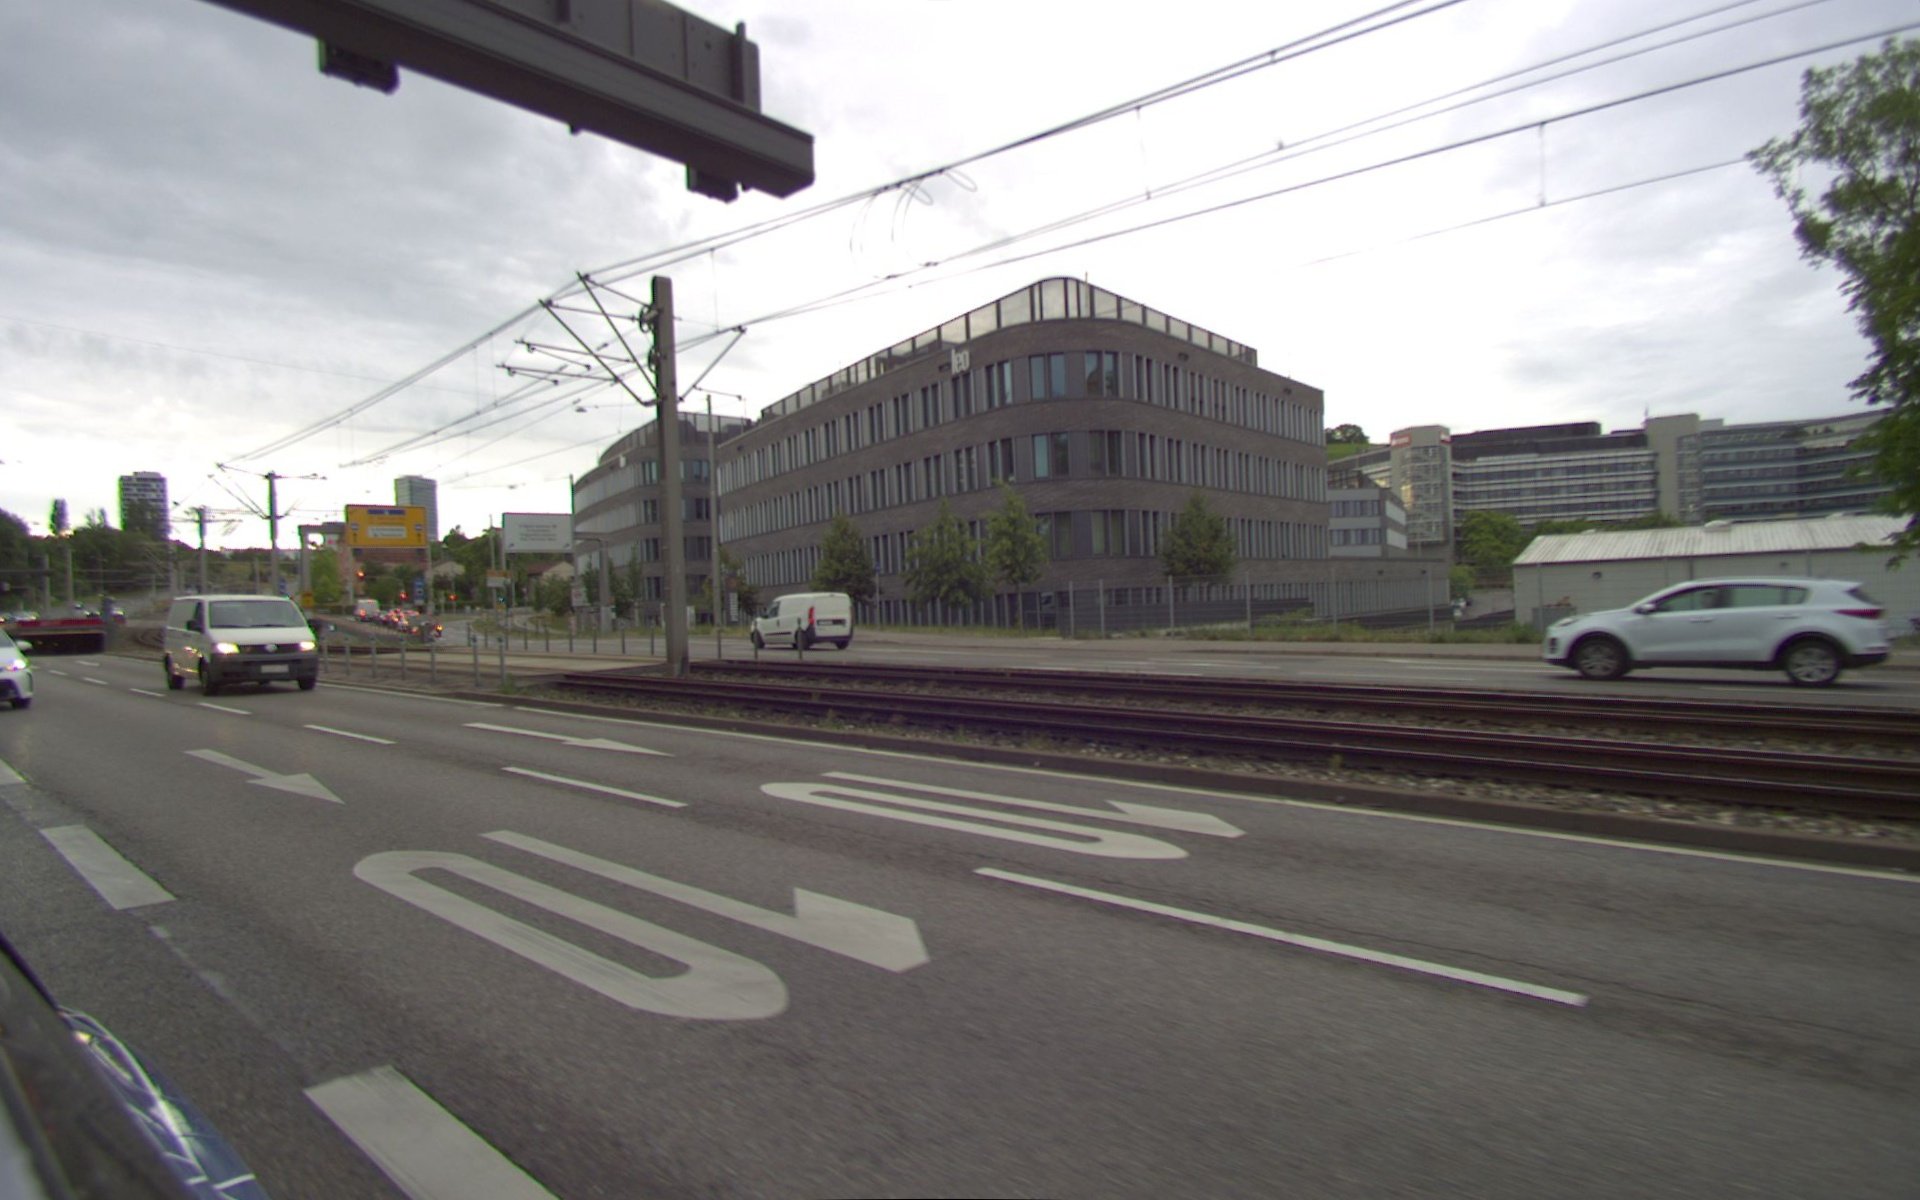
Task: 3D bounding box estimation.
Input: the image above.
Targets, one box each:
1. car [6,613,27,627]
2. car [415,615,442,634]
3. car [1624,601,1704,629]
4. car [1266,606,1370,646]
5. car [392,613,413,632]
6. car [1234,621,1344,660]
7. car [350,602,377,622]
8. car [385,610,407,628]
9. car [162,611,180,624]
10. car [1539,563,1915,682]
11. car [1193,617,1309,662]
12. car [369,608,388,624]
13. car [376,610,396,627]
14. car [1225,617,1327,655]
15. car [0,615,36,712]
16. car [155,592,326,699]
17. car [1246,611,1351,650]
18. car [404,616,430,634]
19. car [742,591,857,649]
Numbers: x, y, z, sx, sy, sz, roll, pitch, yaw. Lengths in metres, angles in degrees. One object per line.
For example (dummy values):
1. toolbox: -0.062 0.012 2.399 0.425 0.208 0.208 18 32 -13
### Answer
1. car: -142.564 2.995 152.924 3.998 2.029 1.973 -1 0 41
2. car: -51.543 2.347 98.125 1.807 1.811 4.226 1 -2 -34
3. car: 43.659 0.930 62.777 3.994 1.666 1.724 -1 0 38
4. car: 15.738 1.135 44.609 3.998 1.666 1.722 -1 0 41
5. car: -58.369 2.323 105.897 1.643 1.918 4.011 0 0 -32
6. car: 12.255 1.474 37.784 3.567 1.345 1.601 -1 0 41
7. car: -75.526 1.473 128.140 2.301 2.486 7.043 0 0 -36
8. car: -61.953 2.088 111.174 1.644 1.918 4.009 0 0 -36
9. car: -122.420 2.709 157.027 1.968 1.962 4.007 0 0 -40
10. car: 11.826 0.335 15.900 4.486 1.609 1.727 -1 0 41
11. car: 10.086 1.320 35.139 3.567 1.447 1.525 -1 0 41
12. car: -70.562 1.887 122.826 1.643 1.918 4.010 0 0 -36
13. car: -66.051 2.106 116.428 1.643 1.833 4.010 0 0 -34
14. car: 12.603 1.408 40.423 3.567 1.393 1.525 -1 0 41
15. car: -17.611 1.080 17.508 4.317 1.585 1.956 -1 0 42
16. car: -14.959 0.873 20.946 4.716 1.973 1.889 -1 0 42
17. car: 14.064 1.243 42.190 3.787 1.556 1.722 -1 0 41
18. car: -54.941 2.545 102.370 1.807 1.811 4.226 1 -2 -34
19. car: -5.384 0.669 33.634 1.809 1.811 4.221 1 -2 -41
